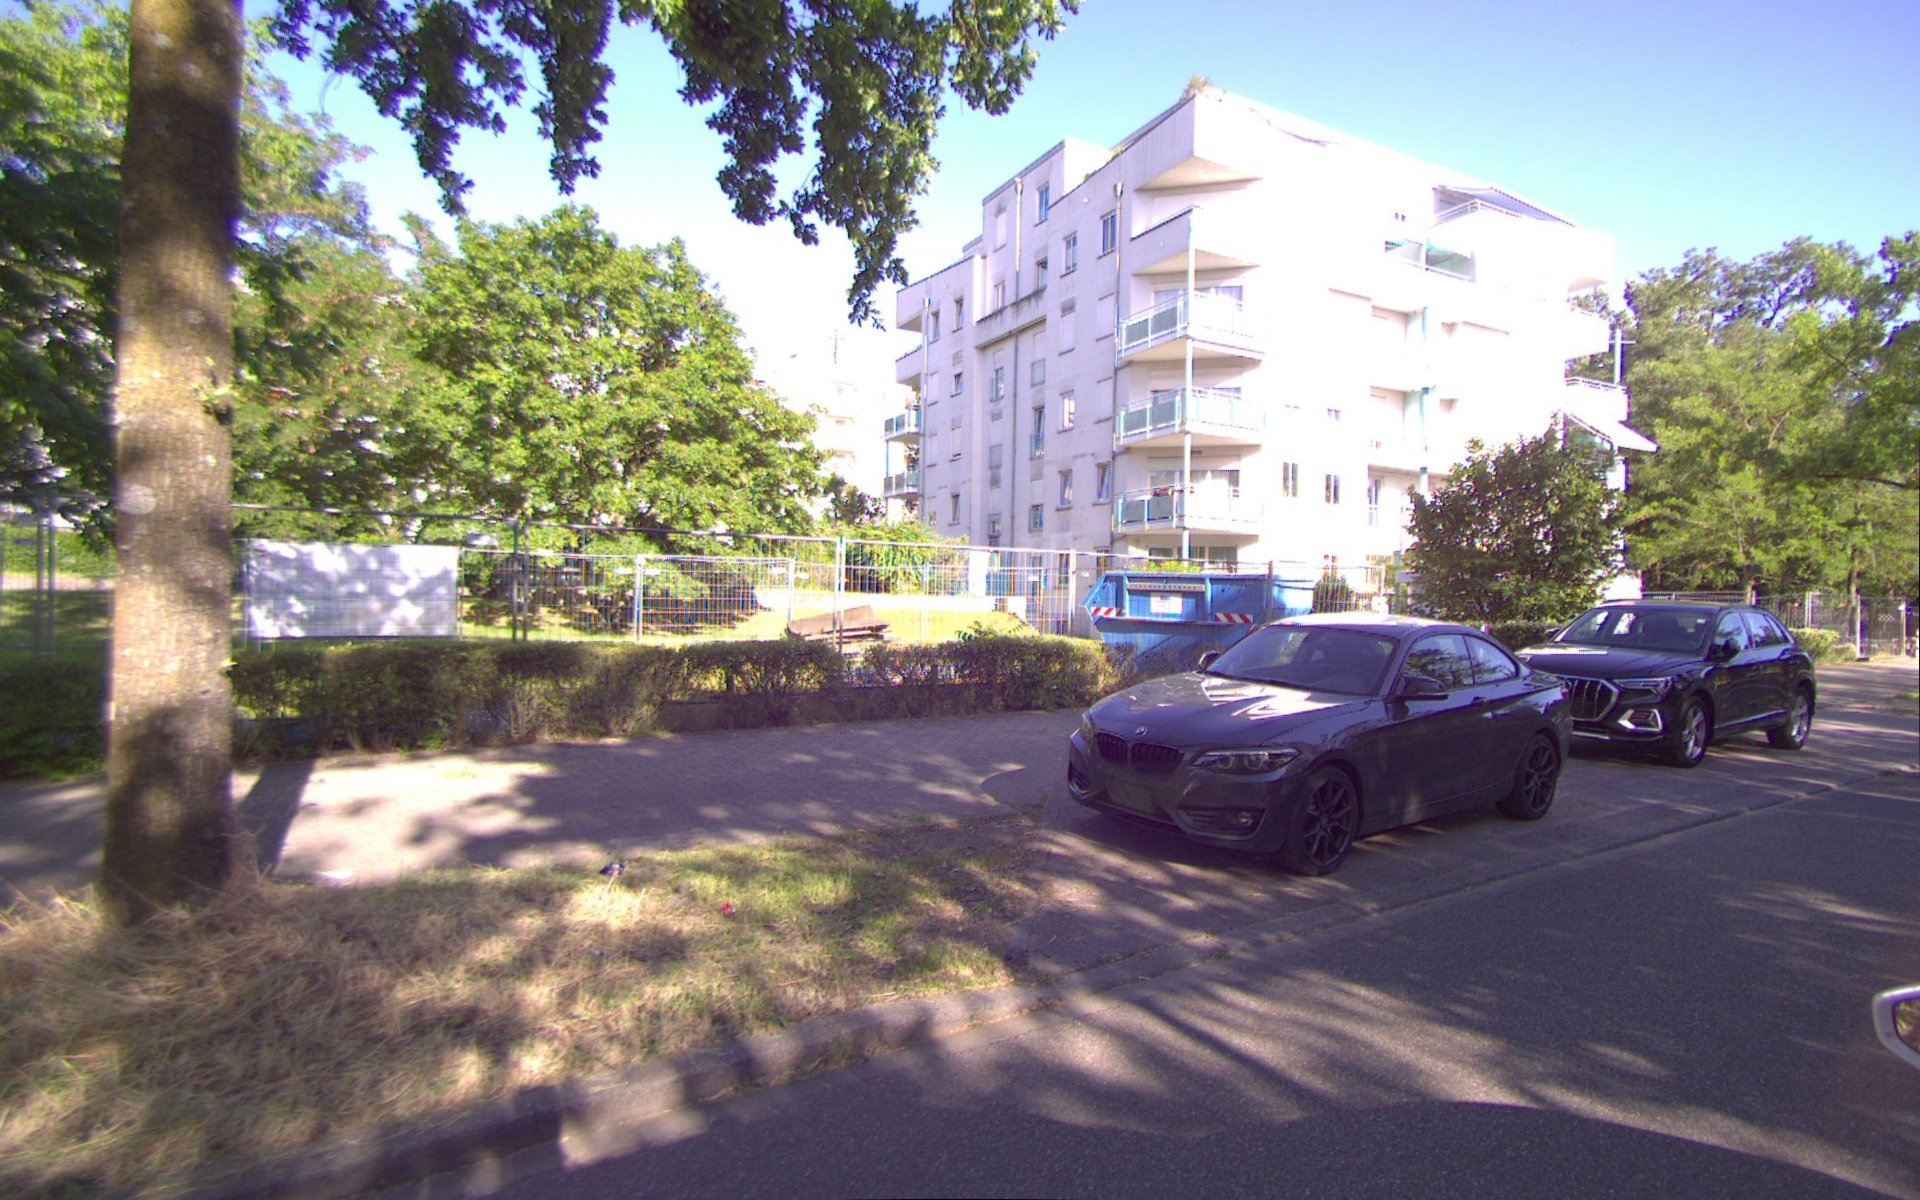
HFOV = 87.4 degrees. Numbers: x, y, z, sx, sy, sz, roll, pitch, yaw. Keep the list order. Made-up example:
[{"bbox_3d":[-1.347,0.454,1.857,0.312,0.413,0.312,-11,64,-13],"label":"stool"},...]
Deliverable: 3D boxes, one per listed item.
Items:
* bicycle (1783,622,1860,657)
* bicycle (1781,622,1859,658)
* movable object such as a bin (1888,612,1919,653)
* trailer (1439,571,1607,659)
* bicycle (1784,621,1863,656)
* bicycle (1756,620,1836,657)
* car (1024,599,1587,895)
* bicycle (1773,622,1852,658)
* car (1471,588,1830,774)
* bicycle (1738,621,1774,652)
[{"bbox_3d":[27.426,1.243,31.990,0.398,1.040,1.819,2,0,-45],"label":"bicycle"},{"bbox_3d":[27.117,1.244,31.697,0.398,1.040,1.840,2,0,-45],"label":"bicycle"},{"bbox_3d":[34.644,1.178,36.163,1.300,1.455,1.272,1,0,-5],"label":"movable object such as a bin"},{"bbox_3d":[14.903,0.380,26.567,4.294,2.149,1.855,1,2,-30],"label":"trailer"},{"bbox_3d":[27.759,1.234,32.326,0.398,1.040,1.895,2,0,-45],"label":"bicycle"},{"bbox_3d":[25.535,1.158,30.710,0.398,1.040,1.850,2,0,-45],"label":"bicycle"},{"bbox_3d":[2.569,0.776,7.050,4.098,1.452,1.703,1,2,-37],"label":"car"},{"bbox_3d":[26.382,1.234,31.111,0.398,1.040,1.836,2,0,-45],"label":"bicycle"},{"bbox_3d":[7.651,0.756,11.034,4.176,1.643,1.765,1,2,-33],"label":"car"},{"bbox_3d":[27.447,1.270,34.644,1.681,1.040,0.397,2,0,-31],"label":"bicycle"}]
